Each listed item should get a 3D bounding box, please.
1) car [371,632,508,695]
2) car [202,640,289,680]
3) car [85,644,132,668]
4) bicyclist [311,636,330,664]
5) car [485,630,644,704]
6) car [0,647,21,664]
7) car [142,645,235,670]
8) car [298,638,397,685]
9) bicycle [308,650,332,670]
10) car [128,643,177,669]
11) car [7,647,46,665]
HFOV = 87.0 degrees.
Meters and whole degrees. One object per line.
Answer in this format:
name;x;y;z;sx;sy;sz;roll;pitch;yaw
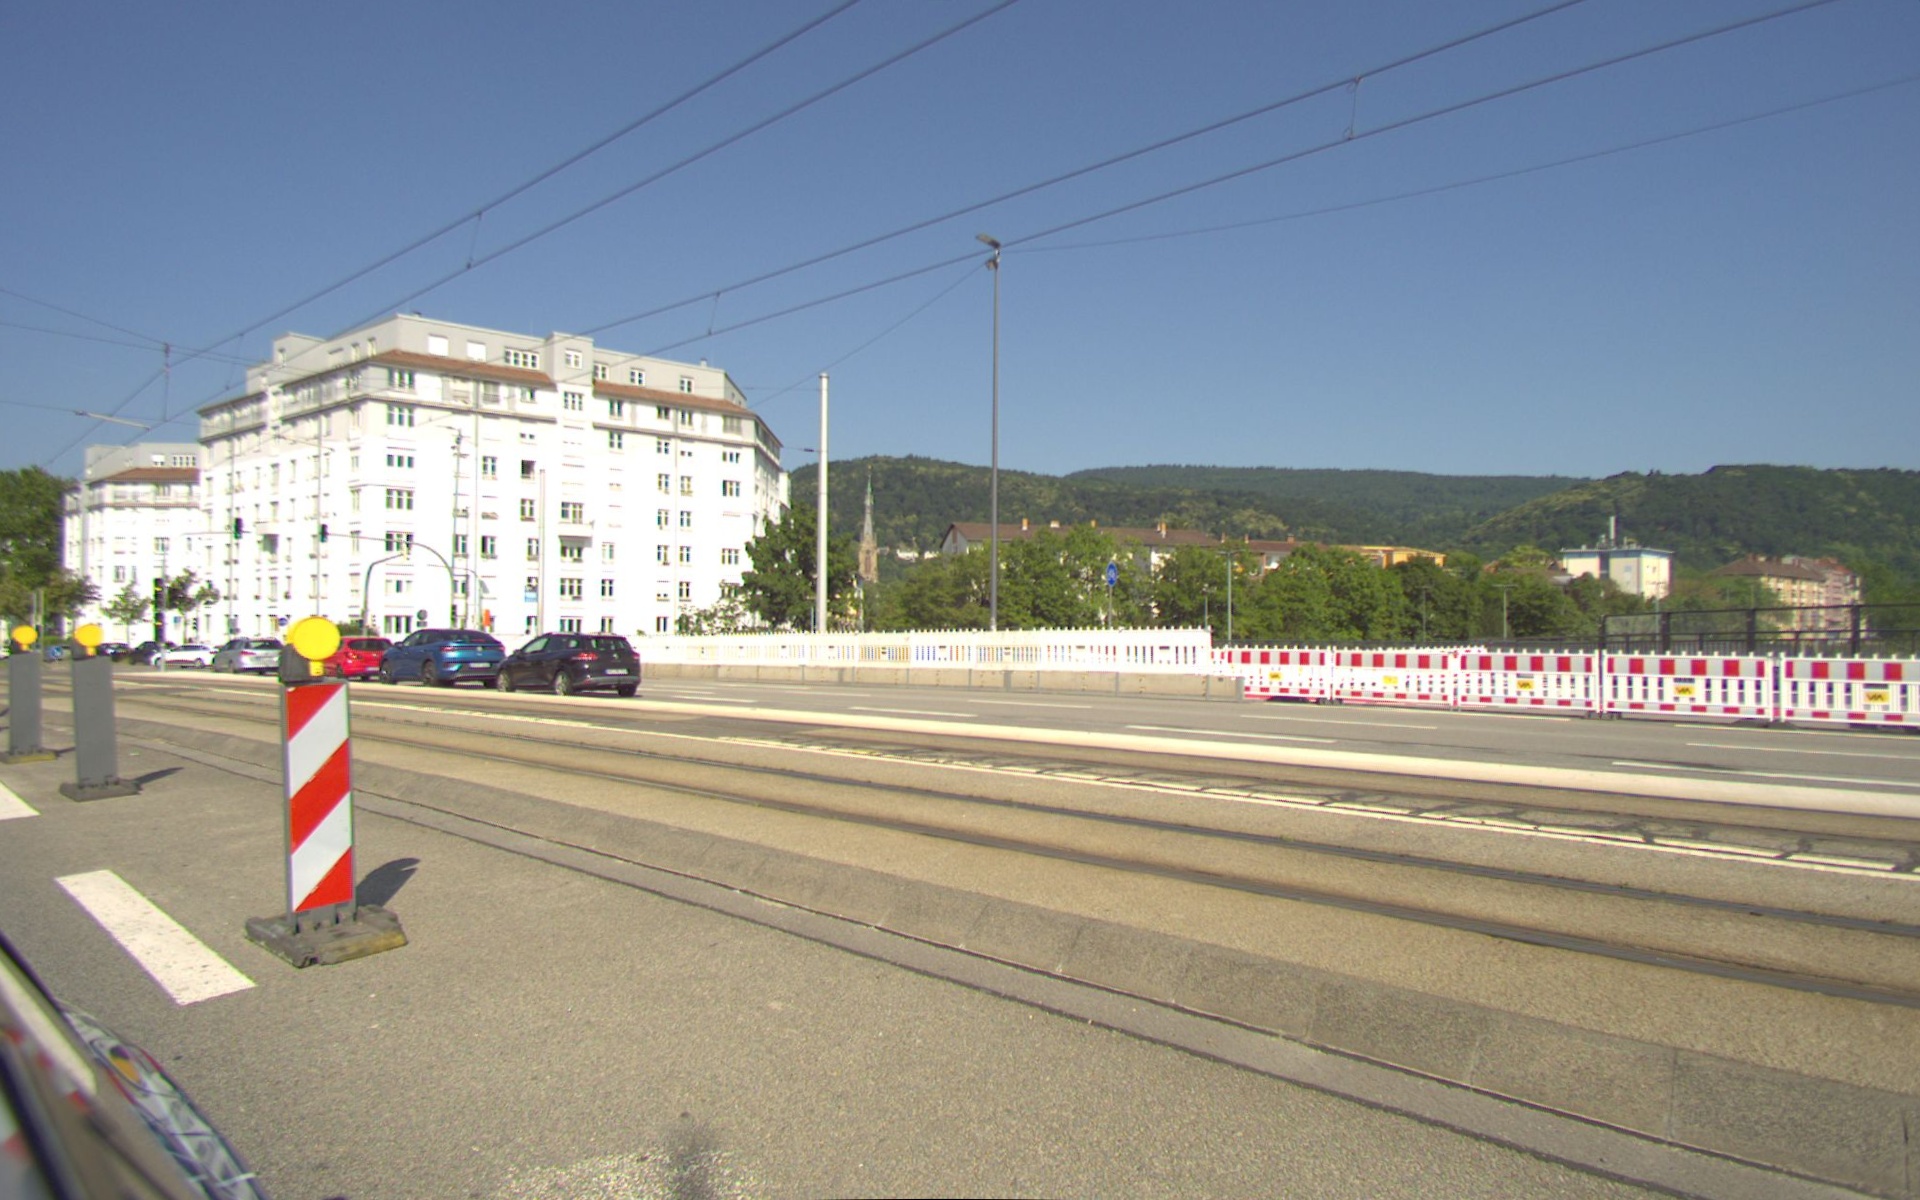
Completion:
car;-14.004;1.671;27.134;4.553;1.562;1.652;-2;-4;41
car;-27.576;2.303;39.031;4.640;1.448;1.621;-2;-4;41
car;-62.634;4.117;74.439;3.730;1.650;1.720;-2;-2;34
bicyclist;-37.138;2.904;58.783;0.916;1.601;0.616;-2;0;37
car;-8.913;1.473;22.660;4.174;1.512;1.490;-2;-4;40
car;-85.606;4.966;90.501;3.732;1.496;1.719;-2;-2;36
car;-44.694;3.347;58.636;4.436;1.423;1.697;-1;-3;10
car;-19.716;1.960;32.503;3.977;1.448;1.518;-2;-4;40
bicycle;-37.201;3.466;58.840;1.783;1.107;0.611;-1;0;37
car;-55.552;3.842;69.619;3.732;1.650;1.719;-2;-2;36
car;-79.671;4.774;86.344;3.732;1.496;1.719;-2;-2;36
